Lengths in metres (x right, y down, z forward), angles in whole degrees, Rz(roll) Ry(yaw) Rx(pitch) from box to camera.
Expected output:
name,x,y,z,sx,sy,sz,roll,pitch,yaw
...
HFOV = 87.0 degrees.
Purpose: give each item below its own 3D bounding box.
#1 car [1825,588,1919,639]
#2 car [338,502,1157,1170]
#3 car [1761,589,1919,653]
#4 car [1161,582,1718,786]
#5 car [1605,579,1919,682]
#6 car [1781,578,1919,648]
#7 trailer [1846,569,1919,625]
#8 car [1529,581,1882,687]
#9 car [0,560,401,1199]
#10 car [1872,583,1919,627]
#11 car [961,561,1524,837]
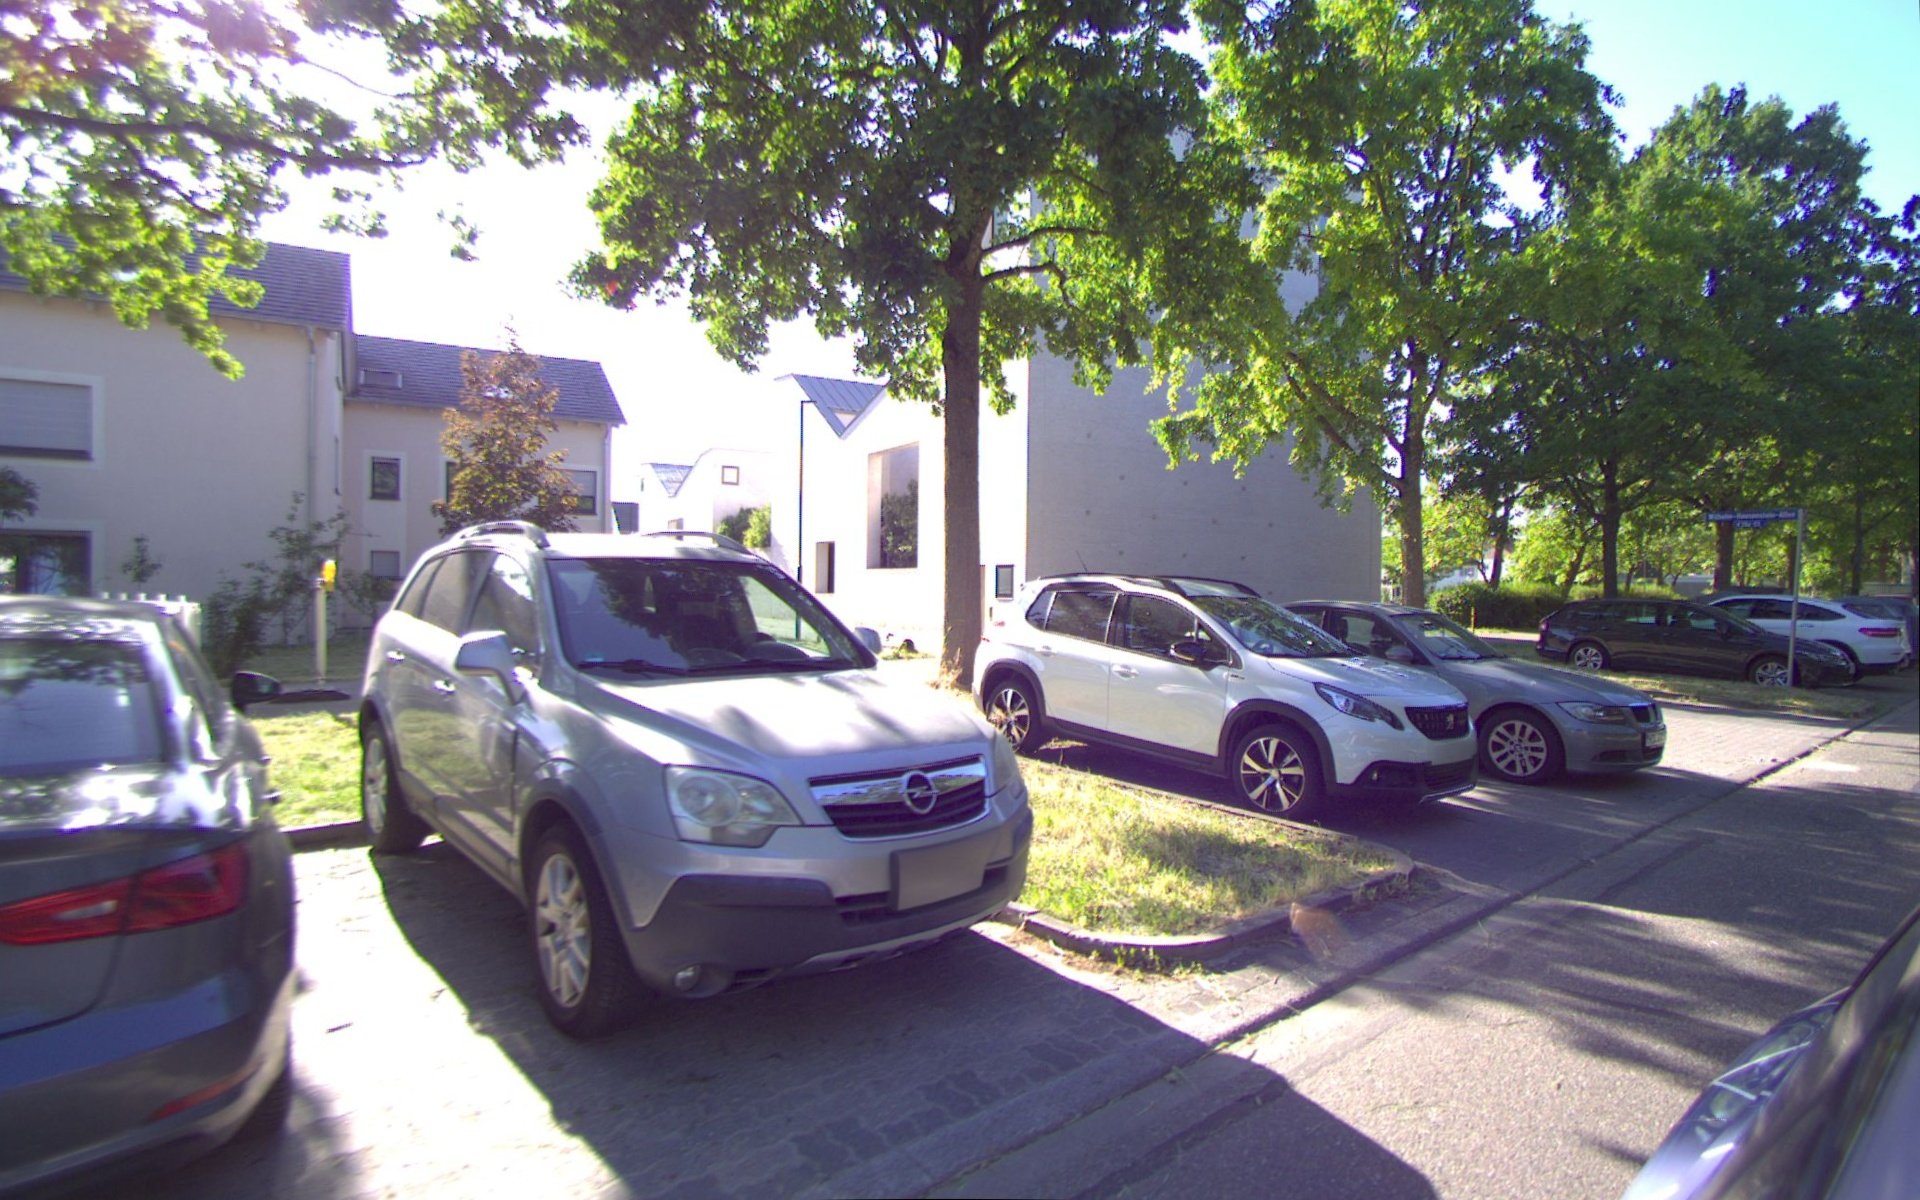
name,x,y,z,sx,sy,sz,roll,pitch,yaw
car,31.108,0.453,32.879,2.040,1.537,4.256,0,2,-39
car,-1.426,0.483,4.771,1.819,1.671,4.392,0,3,-42
car,24.299,0.538,27.045,1.767,1.490,4.233,0,2,-38
car,4.305,0.585,9.721,1.877,1.407,4.455,0,2,-40
car,15.468,0.477,19.563,1.882,1.600,4.682,0,2,-39
car,26.306,0.350,28.563,1.902,1.823,4.540,0,2,-40
trailer,42.270,-0.058,43.652,1.655,2.346,5.792,0,3,-38
car,12.939,0.487,17.844,1.883,1.473,4.680,0,2,-41
car,-3.129,0.616,3.081,1.866,1.451,3.997,0,1,-38
car,40.603,0.265,41.377,1.952,1.743,4.654,0,3,-39
car,1.949,0.517,7.898,1.746,1.515,3.893,0,3,-41
